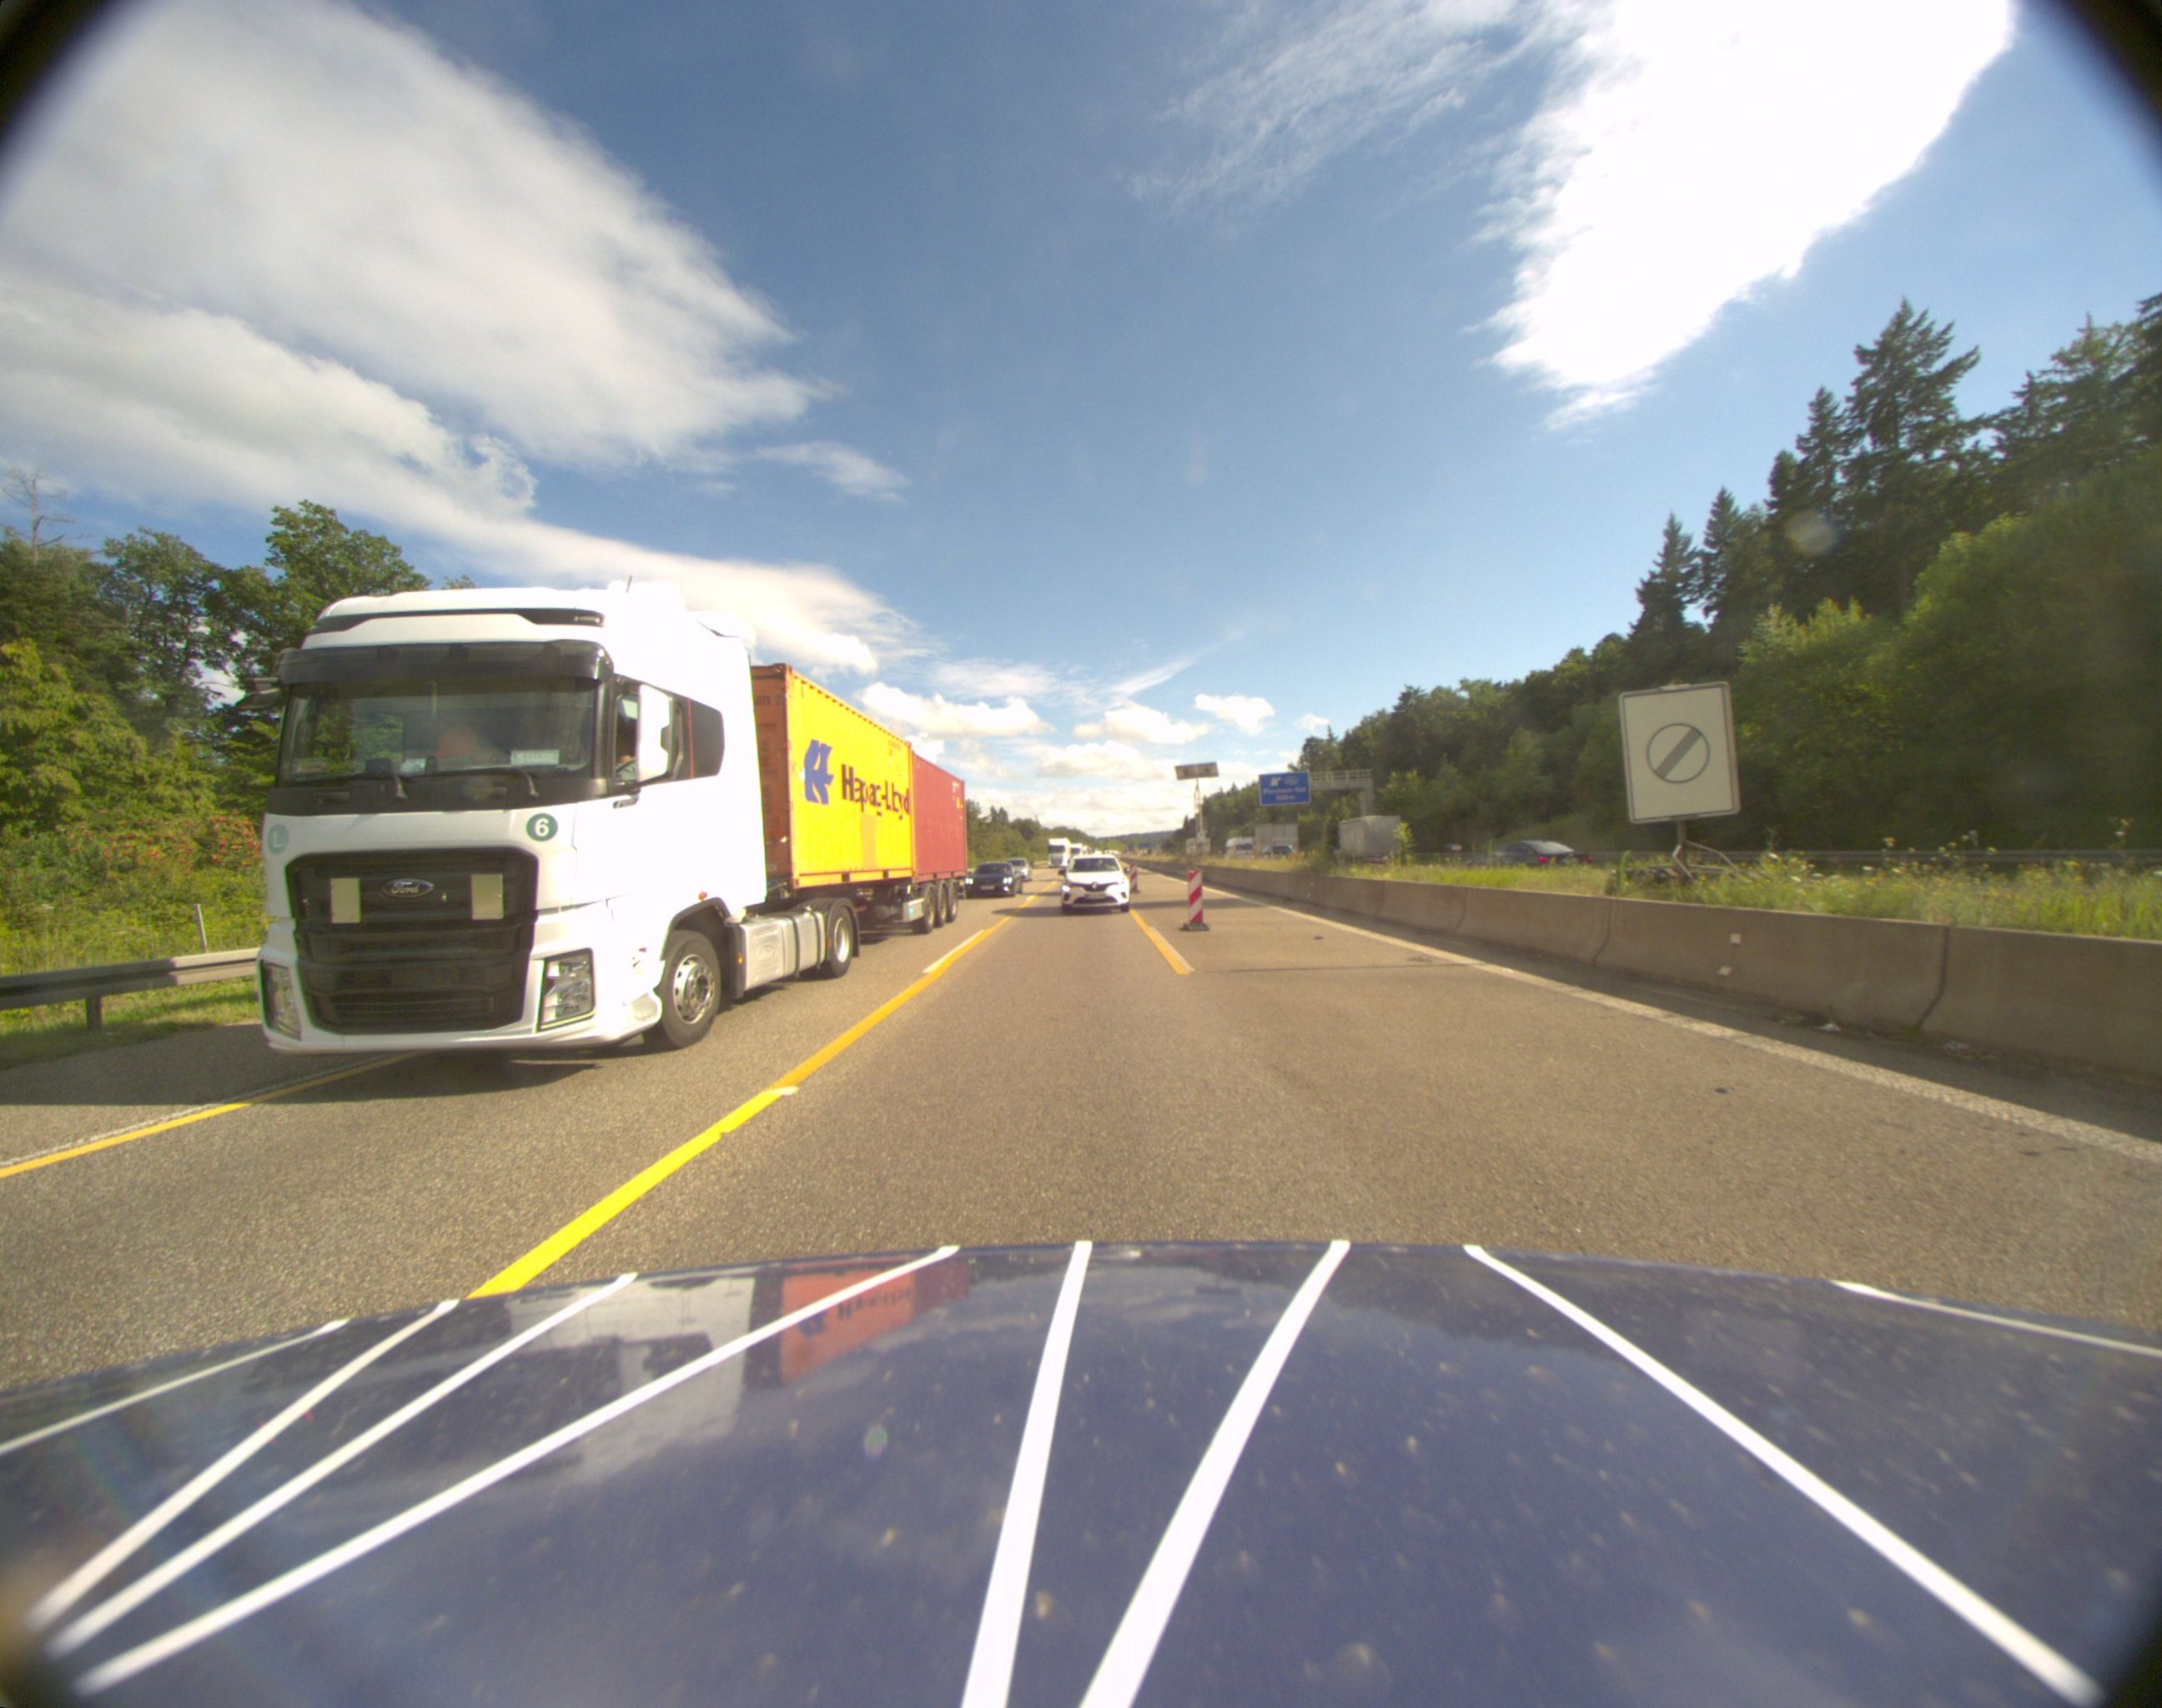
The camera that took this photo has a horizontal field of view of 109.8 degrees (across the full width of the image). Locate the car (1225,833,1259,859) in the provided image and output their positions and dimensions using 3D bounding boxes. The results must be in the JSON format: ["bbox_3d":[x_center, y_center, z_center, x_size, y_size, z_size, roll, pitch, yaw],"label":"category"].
[{"bbox_3d":[16.194,-0.792,76.771,2.165,2.437,6.331,-2,0,1],"label":"car"}]

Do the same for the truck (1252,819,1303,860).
[{"bbox_3d":[20.492,-1.461,79.947,2.807,3.969,10.185,-2,0,1],"label":"truck"}]

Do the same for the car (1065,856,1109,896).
[{"bbox_3d":[0.259,0.858,31.781,1.692,1.471,3.754,-2,1,1],"label":"car"}]

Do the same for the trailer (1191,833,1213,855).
[{"bbox_3d":[22.443,-1.867,141.110,2.797,3.901,8.487,-2,1,1],"label":"trailer"}]

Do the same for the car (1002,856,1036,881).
[{"bbox_3d":[-4.007,0.927,49.706,1.762,1.471,3.967,-2,1,1],"label":"car"}]

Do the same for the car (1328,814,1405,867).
[{"bbox_3d":[19.668,-0.908,52.903,2.493,3.351,7.451,-2,1,0],"label":"car"}]

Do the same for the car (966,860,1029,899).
[{"bbox_3d":[-3.327,1.000,31.118,1.933,1.342,4.477,-2,0,1],"label":"car"}]

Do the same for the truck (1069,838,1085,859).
[{"bbox_3d":[-0.865,-1.208,156.804,2.640,4.092,8.197,-2,0,3],"label":"truck"}]

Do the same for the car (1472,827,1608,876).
[{"bbox_3d":[14.571,-0.094,24.438,1.783,1.379,4.310,-2,1,1],"label":"car"}]

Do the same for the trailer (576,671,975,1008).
[{"bbox_3d":[-4.327,-0.189,14.730,2.477,3.753,12.135,-2,0,1],"label":"trailer"}]

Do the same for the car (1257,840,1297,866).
[{"bbox_3d":[14.491,-0.080,56.329,1.949,1.802,4.118,-2,1,1],"label":"car"}]

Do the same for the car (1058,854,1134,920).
[{"bbox_3d":[0.372,0.821,21.009,1.840,1.528,3.882,-2,1,0],"label":"car"}]

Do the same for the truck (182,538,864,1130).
[{"bbox_3d":[-4.449,-0.136,7.832,2.501,3.759,5.789,-2,1,1],"label":"truck"}]

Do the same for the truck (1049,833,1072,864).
[{"bbox_3d":[-2.823,-0.752,106.877,2.641,4.092,8.195,-2,0,1],"label":"truck"}]

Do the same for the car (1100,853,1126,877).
[{"bbox_3d":[2.189,0.724,52.352,1.633,1.548,3.754,-2,0,2],"label":"car"}]
